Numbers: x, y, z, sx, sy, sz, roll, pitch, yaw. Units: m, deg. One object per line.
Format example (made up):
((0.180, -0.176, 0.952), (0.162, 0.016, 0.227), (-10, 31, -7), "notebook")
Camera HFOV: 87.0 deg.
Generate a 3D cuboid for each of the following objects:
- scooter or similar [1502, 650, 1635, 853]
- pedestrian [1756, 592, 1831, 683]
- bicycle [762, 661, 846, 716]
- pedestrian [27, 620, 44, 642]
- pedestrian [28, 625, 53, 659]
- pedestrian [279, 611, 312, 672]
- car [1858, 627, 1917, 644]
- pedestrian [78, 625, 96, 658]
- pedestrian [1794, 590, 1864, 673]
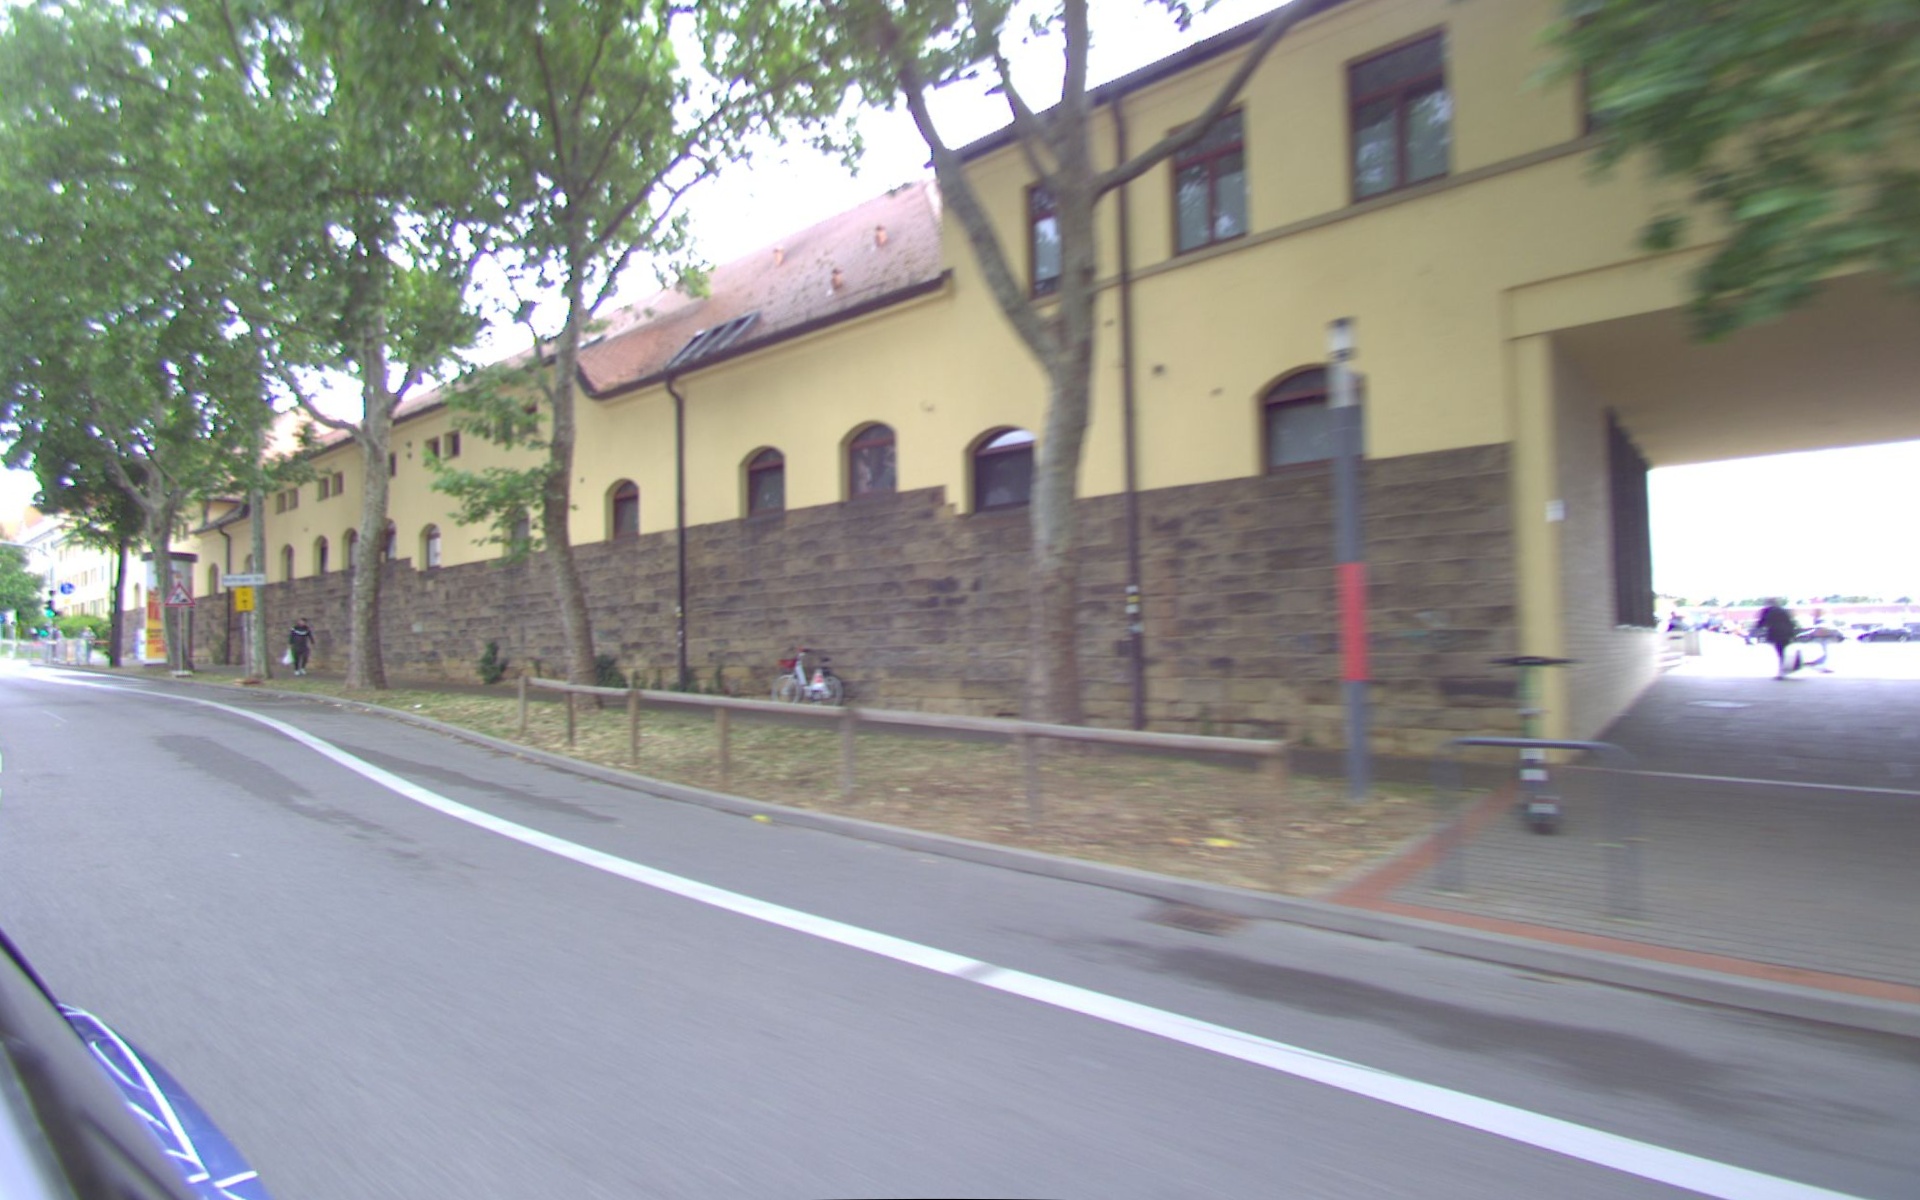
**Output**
((4.408, 1.025, 7.424), (0.443, 1.249, 1.611), (-1, 0, 17), "scooter or similar")
((14.558, 0.643, 17.692), (0.963, 1.534, 0.801), (-1, -1, 40), "pedestrian")
((-2.682, 1.488, 17.279), (1.774, 0.852, 0.332), (-1, -1, 40), "bicycle")
((-84.165, 2.802, 92.152), (1.096, 2.005, 1.029), (0, 0, 42), "pedestrian")
((-47.479, 2.143, 52.247), (0.931, 1.699, 0.843), (0, 0, 42), "pedestrian")
((-20.916, 1.292, 31.861), (0.816, 1.890, 0.664), (-2, -1, 41), "pedestrian")
((88.123, 3.328, 96.226), (3.995, 1.497, 1.974), (0, 0, 39), "car")
((-45.558, 2.177, 52.809), (0.549, 1.674, 0.617), (0, 0, 42), "pedestrian")
((16.503, 0.583, 19.249), (0.963, 1.534, 0.801), (-1, -1, 40), "pedestrian")
